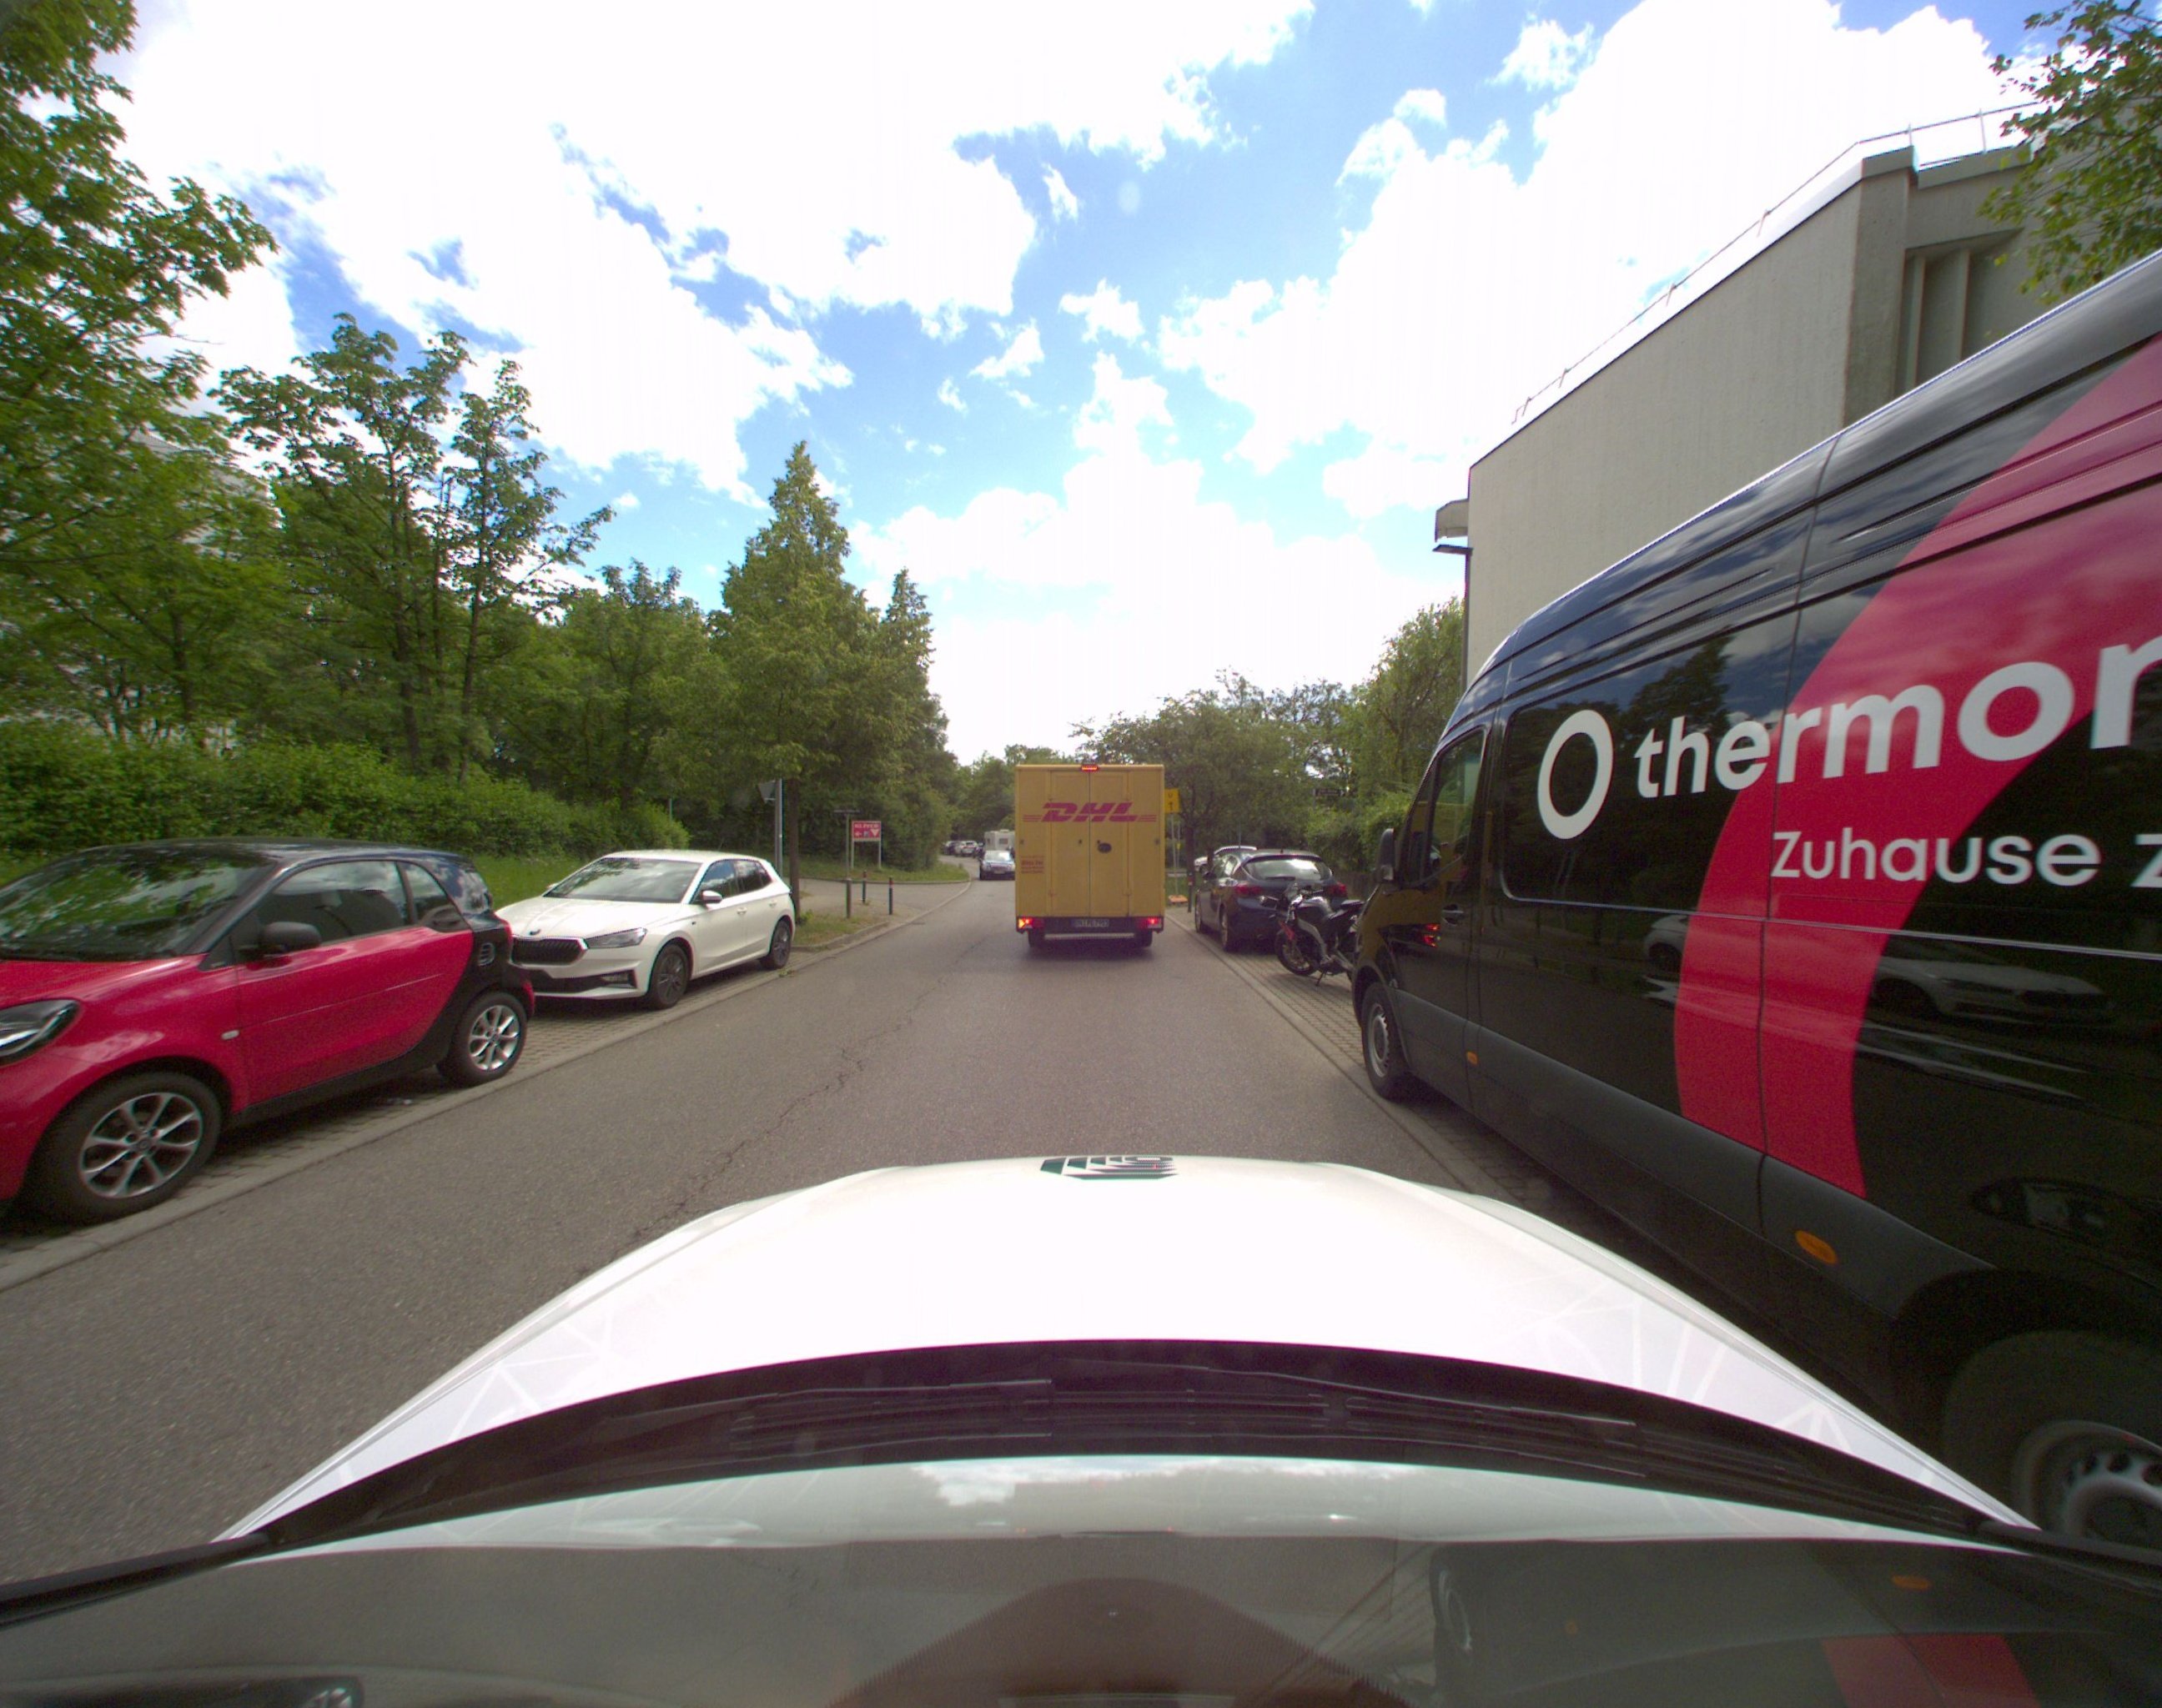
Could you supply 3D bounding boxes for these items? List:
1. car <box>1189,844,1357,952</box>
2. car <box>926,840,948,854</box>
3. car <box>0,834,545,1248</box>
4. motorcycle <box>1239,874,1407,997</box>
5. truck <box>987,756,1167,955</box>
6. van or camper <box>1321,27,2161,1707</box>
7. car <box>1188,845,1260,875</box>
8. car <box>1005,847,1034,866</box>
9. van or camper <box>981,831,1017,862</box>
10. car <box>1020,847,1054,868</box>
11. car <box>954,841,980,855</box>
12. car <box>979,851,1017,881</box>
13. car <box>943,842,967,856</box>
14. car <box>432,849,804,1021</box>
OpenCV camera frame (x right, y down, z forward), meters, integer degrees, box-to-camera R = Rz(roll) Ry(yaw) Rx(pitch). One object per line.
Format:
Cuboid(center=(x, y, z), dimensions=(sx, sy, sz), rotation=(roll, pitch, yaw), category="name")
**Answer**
Cuboid(center=(2.865, 0.609, 13.029), dimensions=(1.723, 1.433, 3.968), rotation=(1, 0, 0), category="car")
Cuboid(center=(-18.174, -0.864, 102.480), dimensions=(1.852, 1.613, 3.969), rotation=(0, 2, -24), category="car")
Cuboid(center=(-4.589, 0.664, 4.359), dimensions=(1.522, 1.506, 2.715), rotation=(1, 0, 3), category="car")
Cuboid(center=(2.563, 0.813, 8.950), dimensions=(0.899, 1.111, 2.077), rotation=(1, 1, -11), category="motorcycle")
Cuboid(center=(-0.084, -0.001, 14.530), dimensions=(2.459, 2.702, 6.822), rotation=(0, 0, -1), category="truck")
Cuboid(center=(2.579, 0.086, 2.789), dimensions=(1.986, 2.523, 5.473), rotation=(-2, 0, 2), category="van or camper")
Cuboid(center=(7.632, 0.293, 43.705), dimensions=(3.617, 1.486, 1.692), rotation=(1, 2, 1), category="car")
Cuboid(center=(-5.485, 0.221, 71.942), dimensions=(1.847, 1.529, 3.980), rotation=(1, 2, -15), category="car")
Cuboid(center=(-7.961, -0.754, 78.788), dimensions=(2.331, 2.871, 5.227), rotation=(1, 1, -19), category="van or camper")
Cuboid(center=(-3.510, 0.235, 64.497), dimensions=(1.847, 1.529, 3.980), rotation=(1, 2, -15), category="car")
Cuboid(center=(-12.803, -0.693, 91.077), dimensions=(1.852, 1.529, 3.969), rotation=(0, 2, -24), category="car")
Cuboid(center=(-4.092, 0.562, 40.740), dimensions=(1.671, 1.355, 3.965), rotation=(1, 0, -3), category="car")
Cuboid(center=(-15.049, -0.619, 96.780), dimensions=(1.852, 1.613, 3.969), rotation=(0, 2, -24), category="car")
Cuboid(center=(-4.619, 0.675, 8.913), dimensions=(1.668, 1.436, 3.971), rotation=(1, 0, 2), category="car")
